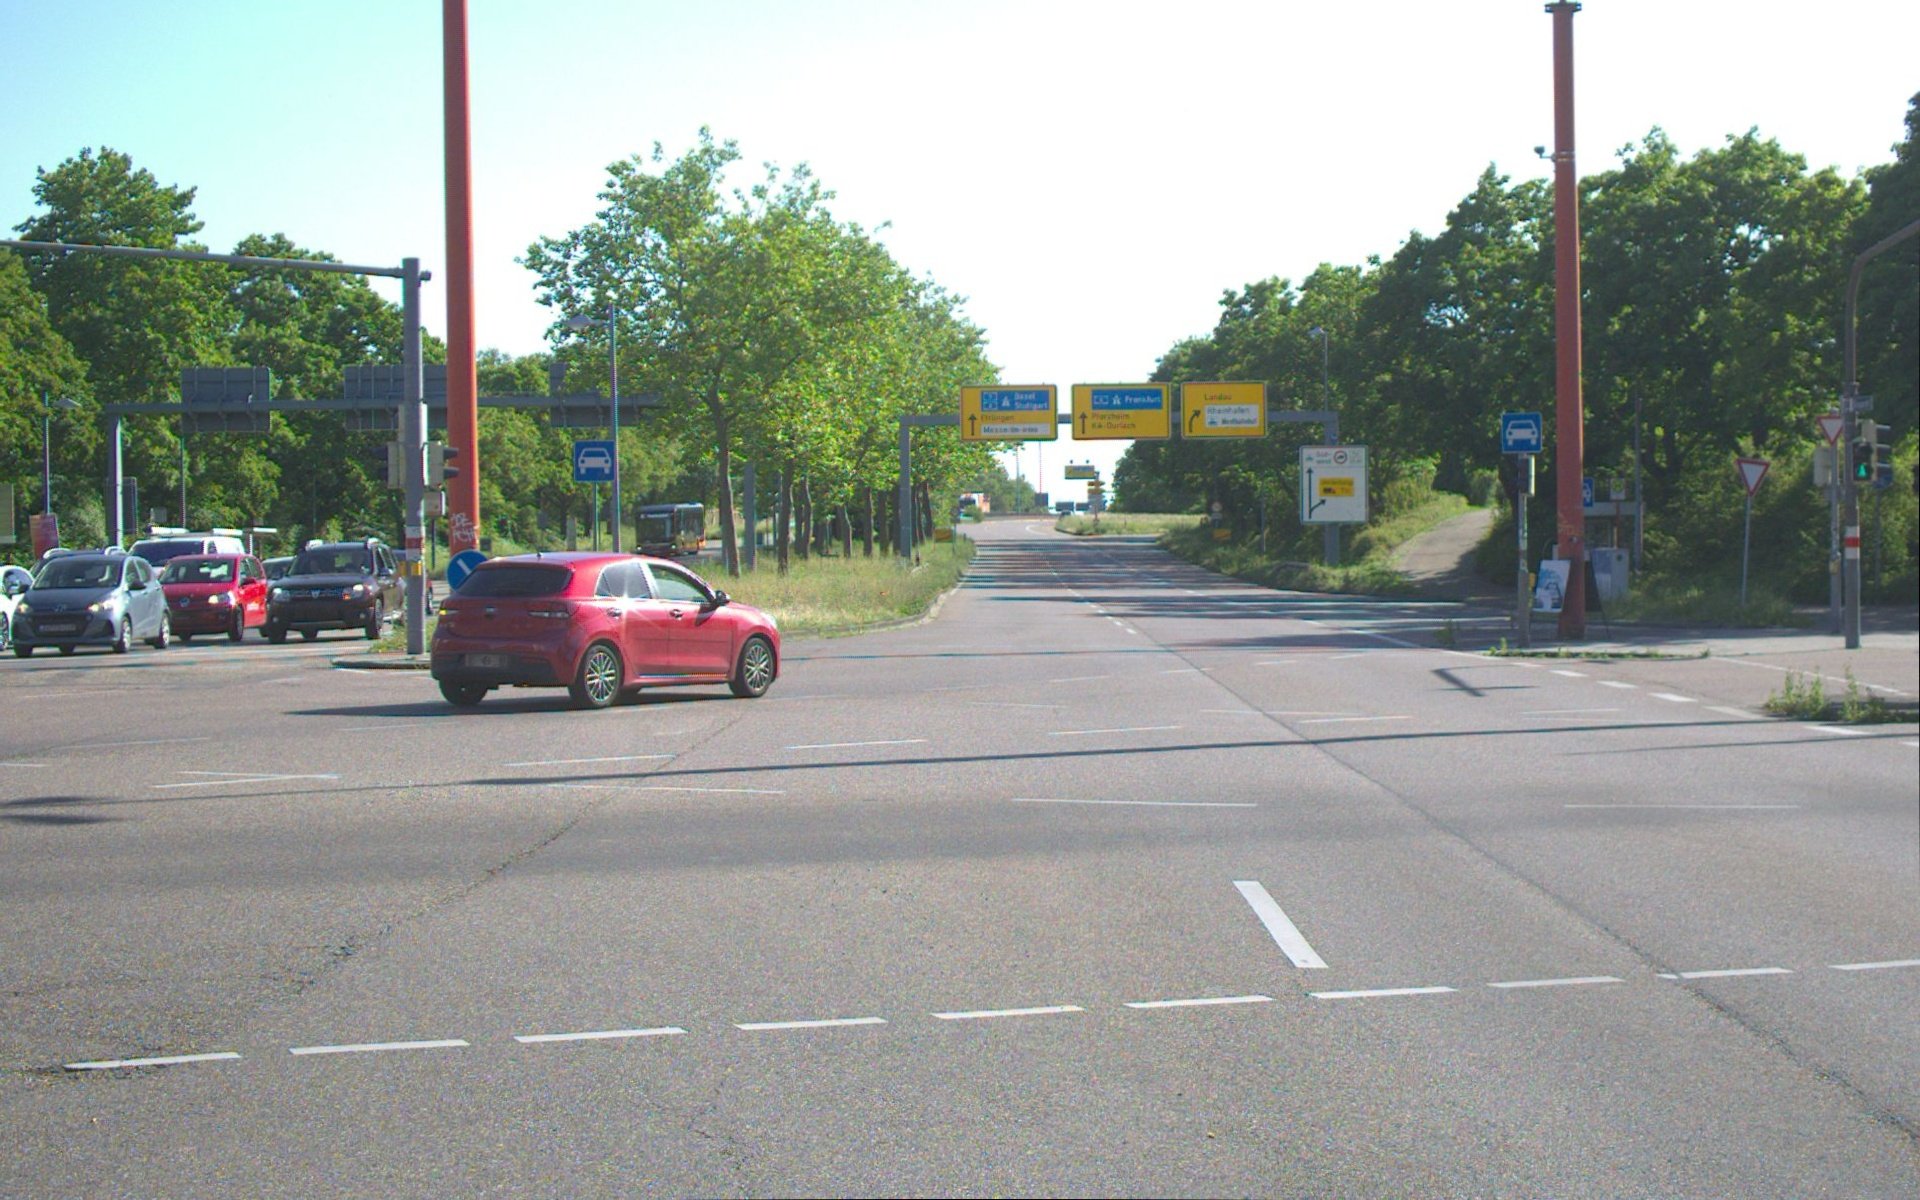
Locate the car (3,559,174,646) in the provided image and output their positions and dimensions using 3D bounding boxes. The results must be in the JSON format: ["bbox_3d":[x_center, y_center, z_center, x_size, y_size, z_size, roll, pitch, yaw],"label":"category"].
[{"bbox_3d":[-13.112,0.018,51.898,1.739,1.239,3.613,-1,1,-1],"label":"car"}]

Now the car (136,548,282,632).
[{"bbox_3d":[-12.690,-0.187,58.267,1.739,1.357,3.613,-1,1,-1],"label":"car"}]

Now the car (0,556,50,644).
[{"bbox_3d":[-16.421,-0.014,57.043,1.739,1.406,3.613,-1,1,-1],"label":"car"}]

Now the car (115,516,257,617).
[{"bbox_3d":[-15.964,-0.698,71.168,1.893,2.019,5.223,0,1,-1],"label":"car"}]

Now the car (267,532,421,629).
[{"bbox_3d":[-9.988,-0.340,56.020,1.819,1.503,4.000,-1,1,-1],"label":"car"}]

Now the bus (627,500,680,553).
[{"bbox_3d":[-19.307,-4.630,217.124,2.492,3.227,10.001,-1,1,-1],"label":"bus"}]

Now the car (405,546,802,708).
[{"bbox_3d":[-3.361,0.216,33.120,1.683,1.430,4.058,0,1,31],"label":"car"}]
